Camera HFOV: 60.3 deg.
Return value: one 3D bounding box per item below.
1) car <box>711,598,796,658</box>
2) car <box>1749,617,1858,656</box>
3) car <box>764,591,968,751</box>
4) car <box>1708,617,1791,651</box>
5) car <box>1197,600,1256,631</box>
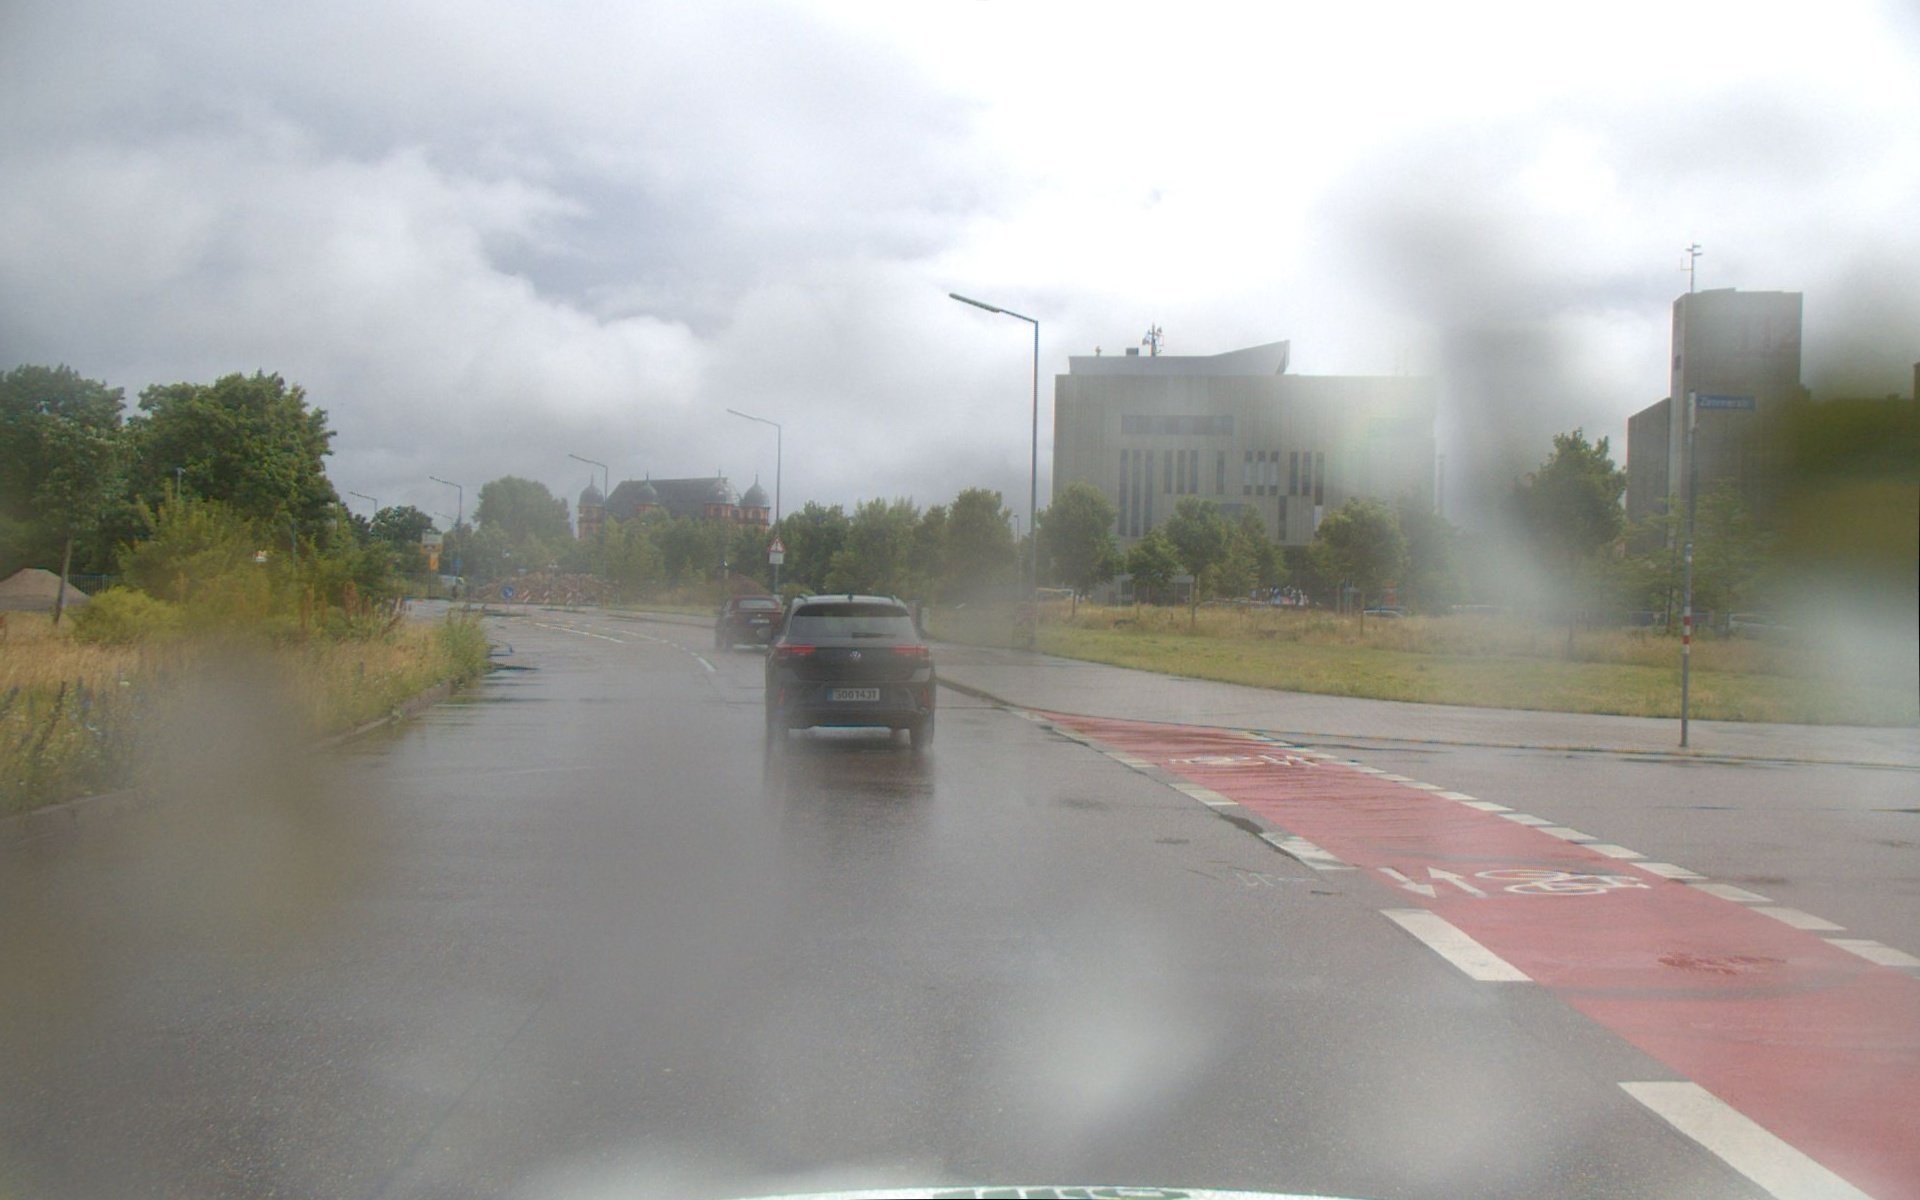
[{"bbox_3d":[-5.500,0.698,43.707,1.810,1.467,3.986,-1,0,-14],"label":"car"},{"bbox_3d":[41.935,1.812,82.299,4.446,1.792,2.002,1,0,13],"label":"car"},{"bbox_3d":[-1.158,0.695,18.358,1.949,1.547,3.993,1,0,-8],"label":"car"},{"bbox_3d":[44.077,1.888,92.418,3.902,1.751,1.770,1,0,14],"label":"car"},{"bbox_3d":[18.421,1.065,114.290,3.620,2.049,2.000,1,-1,20],"label":"car"}]
